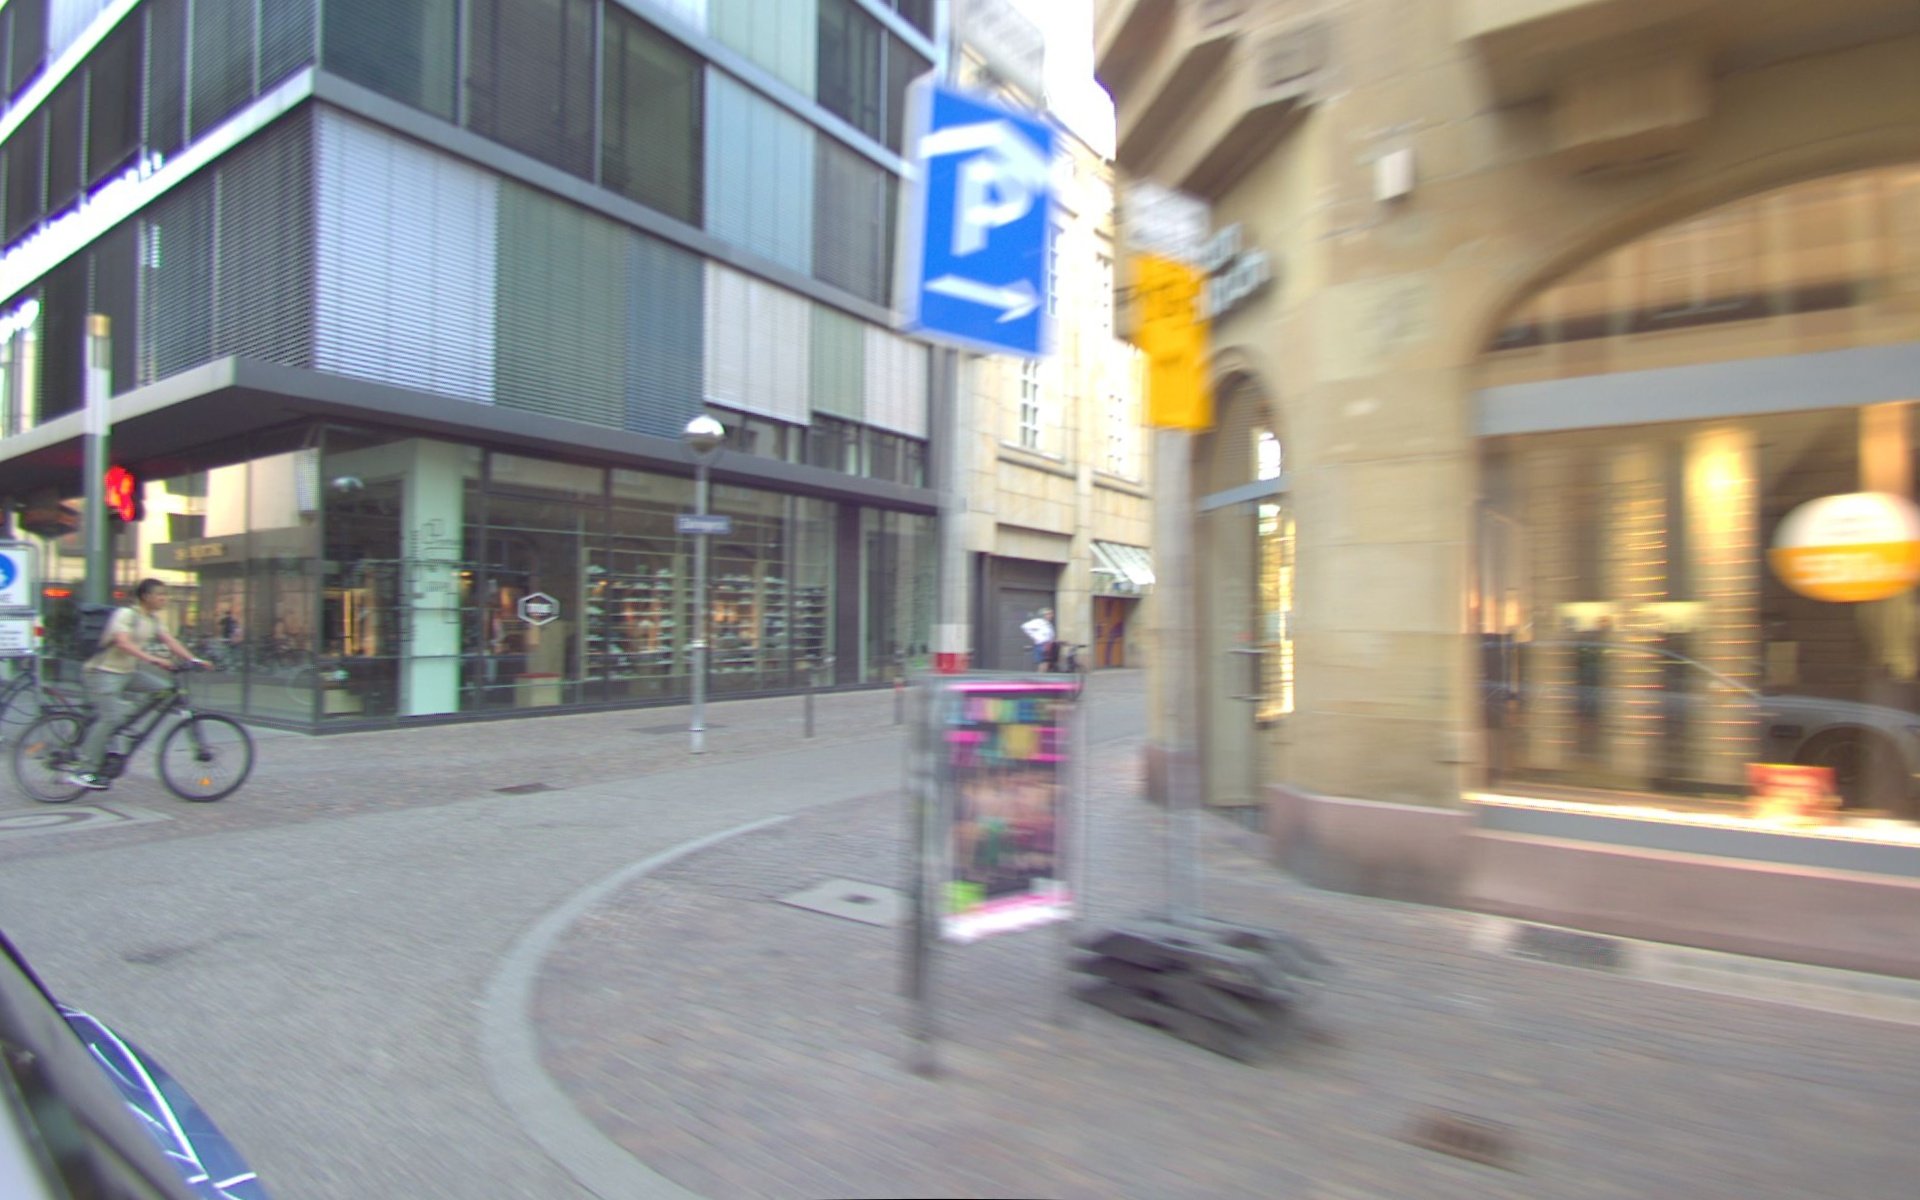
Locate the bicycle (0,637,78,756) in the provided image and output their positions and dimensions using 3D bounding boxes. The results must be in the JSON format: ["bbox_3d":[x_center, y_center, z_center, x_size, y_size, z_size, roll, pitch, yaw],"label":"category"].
[{"bbox_3d":[-10.280,1.020,10.475,0.508,1.213,1.652,-1,0,34],"label":"bicycle"}]

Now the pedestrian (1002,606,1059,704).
[{"bbox_3d":[1.334,1.025,19.070,0.907,1.804,0.604,-1,-2,33],"label":"pedestrian"}]

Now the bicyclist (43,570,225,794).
[{"bbox_3d":[-6.491,0.625,7.991,0.856,1.683,0.677,0,-2,-3],"label":"bicyclist"}]

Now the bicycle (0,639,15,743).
[{"bbox_3d":[-11.684,1.075,11.073,0.516,1.190,1.882,-3,0,33],"label":"bicycle"}]

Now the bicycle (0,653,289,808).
[{"bbox_3d":[-6.530,0.998,7.979,1.975,1.137,0.700,0,-2,-4],"label":"bicycle"}]

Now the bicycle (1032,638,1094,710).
[{"bbox_3d":[1.924,1.337,18.737,0.411,1.241,1.807,-1,-2,31],"label":"bicycle"}]
